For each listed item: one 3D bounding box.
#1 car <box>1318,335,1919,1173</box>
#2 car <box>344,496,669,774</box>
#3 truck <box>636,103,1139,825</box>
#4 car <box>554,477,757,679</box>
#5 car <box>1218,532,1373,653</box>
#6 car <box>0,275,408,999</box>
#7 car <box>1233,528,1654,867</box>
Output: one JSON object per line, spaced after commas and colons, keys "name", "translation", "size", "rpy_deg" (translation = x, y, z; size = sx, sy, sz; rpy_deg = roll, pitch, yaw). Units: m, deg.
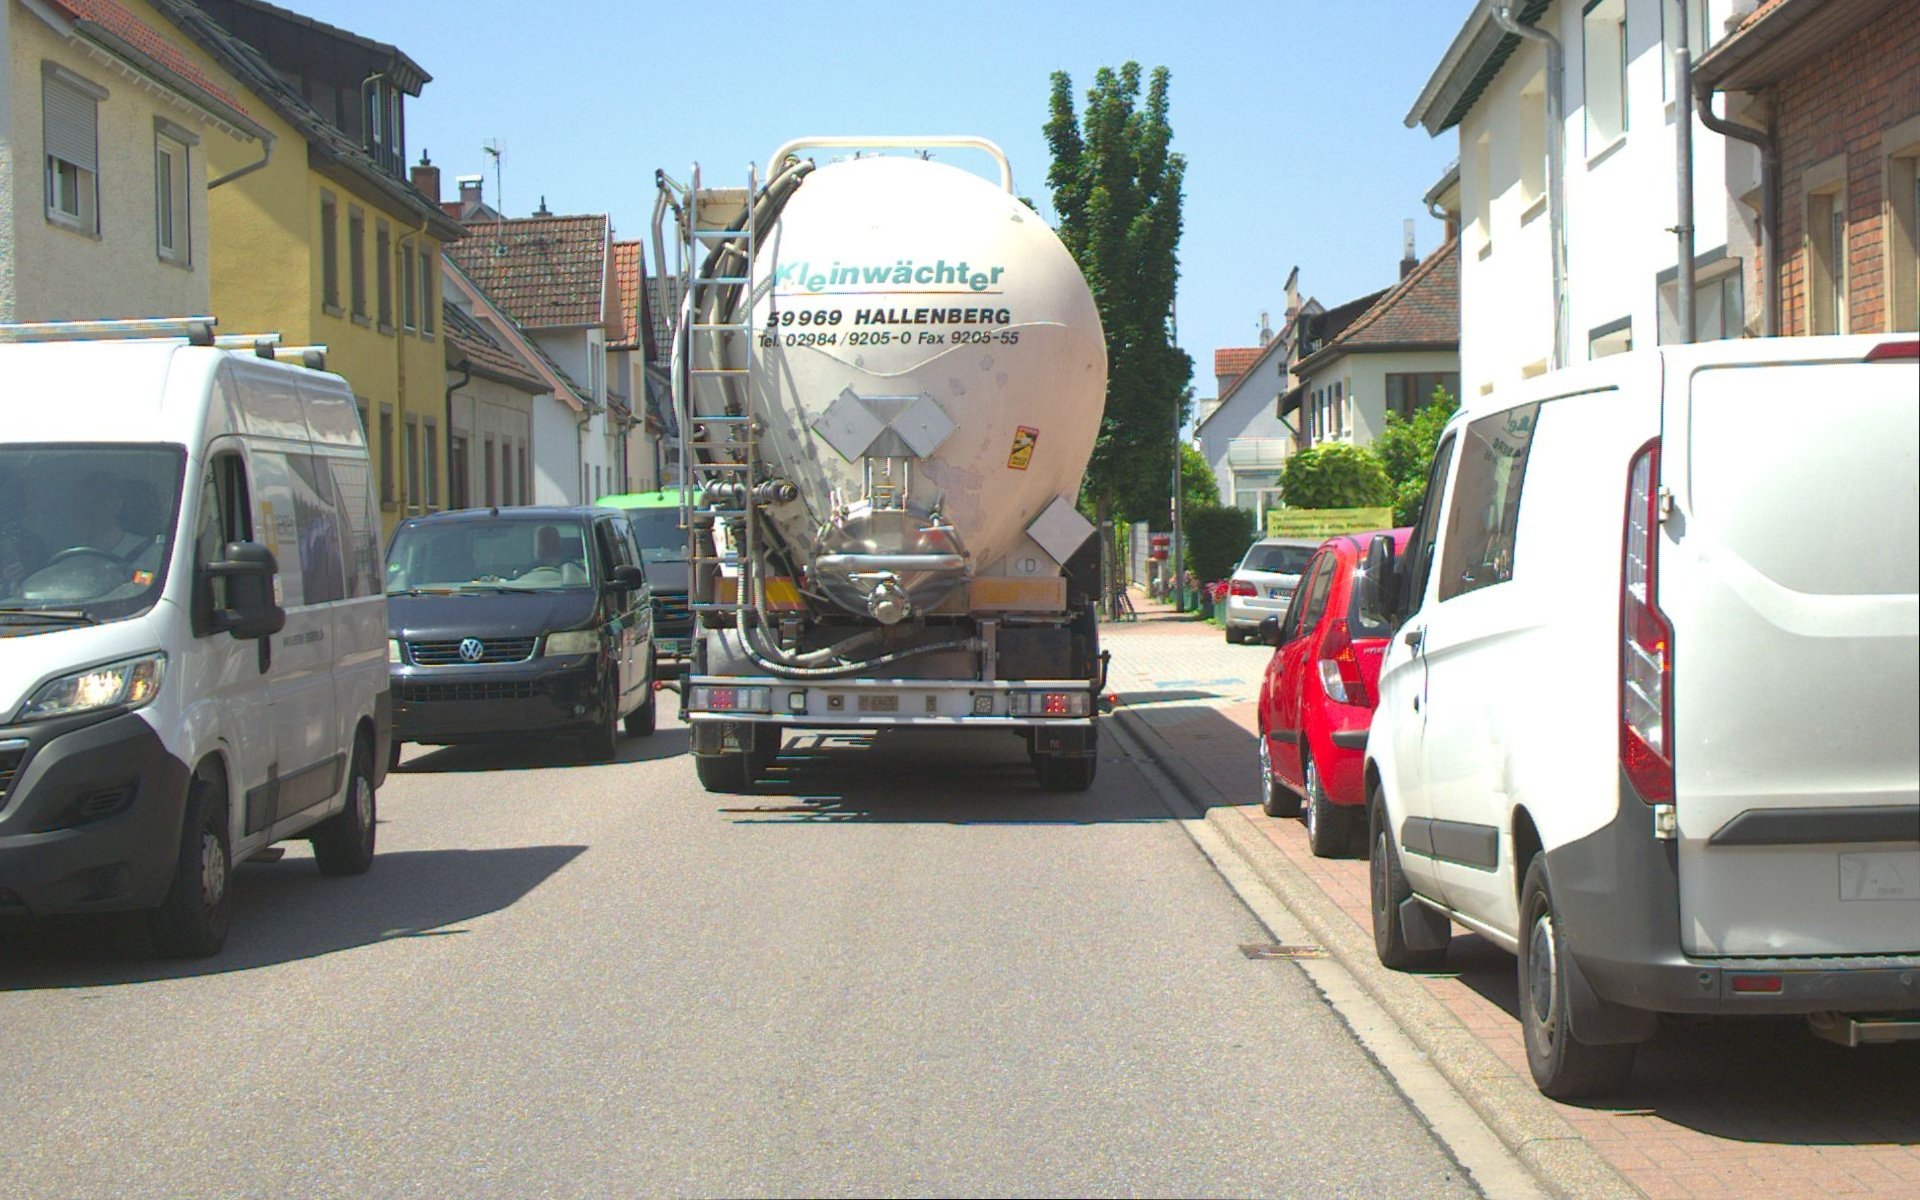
{"name": "car", "translation": [2.399, 0.306, 10.534], "size": [1.946, 1.963, 4.785], "rpy_deg": [-1, 1, -1]}
{"name": "car", "translation": [-3.466, 0.207, 27.192], "size": [1.881, 1.937, 5.118], "rpy_deg": [-2, 1, -1]}
{"name": "truck", "translation": [-0.465, -0.782, 22.933], "size": [2.732, 3.946, 8.142], "rpy_deg": [0, 1, -1]}
{"name": "car", "translation": [-3.819, -0.321, 44.173], "size": [2.051, 2.345, 6.082], "rpy_deg": [-2, 1, -1]}
{"name": "car", "translation": [4.754, -0.152, 48.166], "size": [1.815, 1.457, 4.883], "rpy_deg": [4, 2, 9]}
{"name": "car", "translation": [-3.908, 0.104, 14.840], "size": [2.125, 2.533, 5.462], "rpy_deg": [-2, 1, 0]}
{"name": "car", "translation": [2.377, 0.415, 17.694], "size": [1.610, 1.523, 3.677], "rpy_deg": [-1, 1, 0]}
